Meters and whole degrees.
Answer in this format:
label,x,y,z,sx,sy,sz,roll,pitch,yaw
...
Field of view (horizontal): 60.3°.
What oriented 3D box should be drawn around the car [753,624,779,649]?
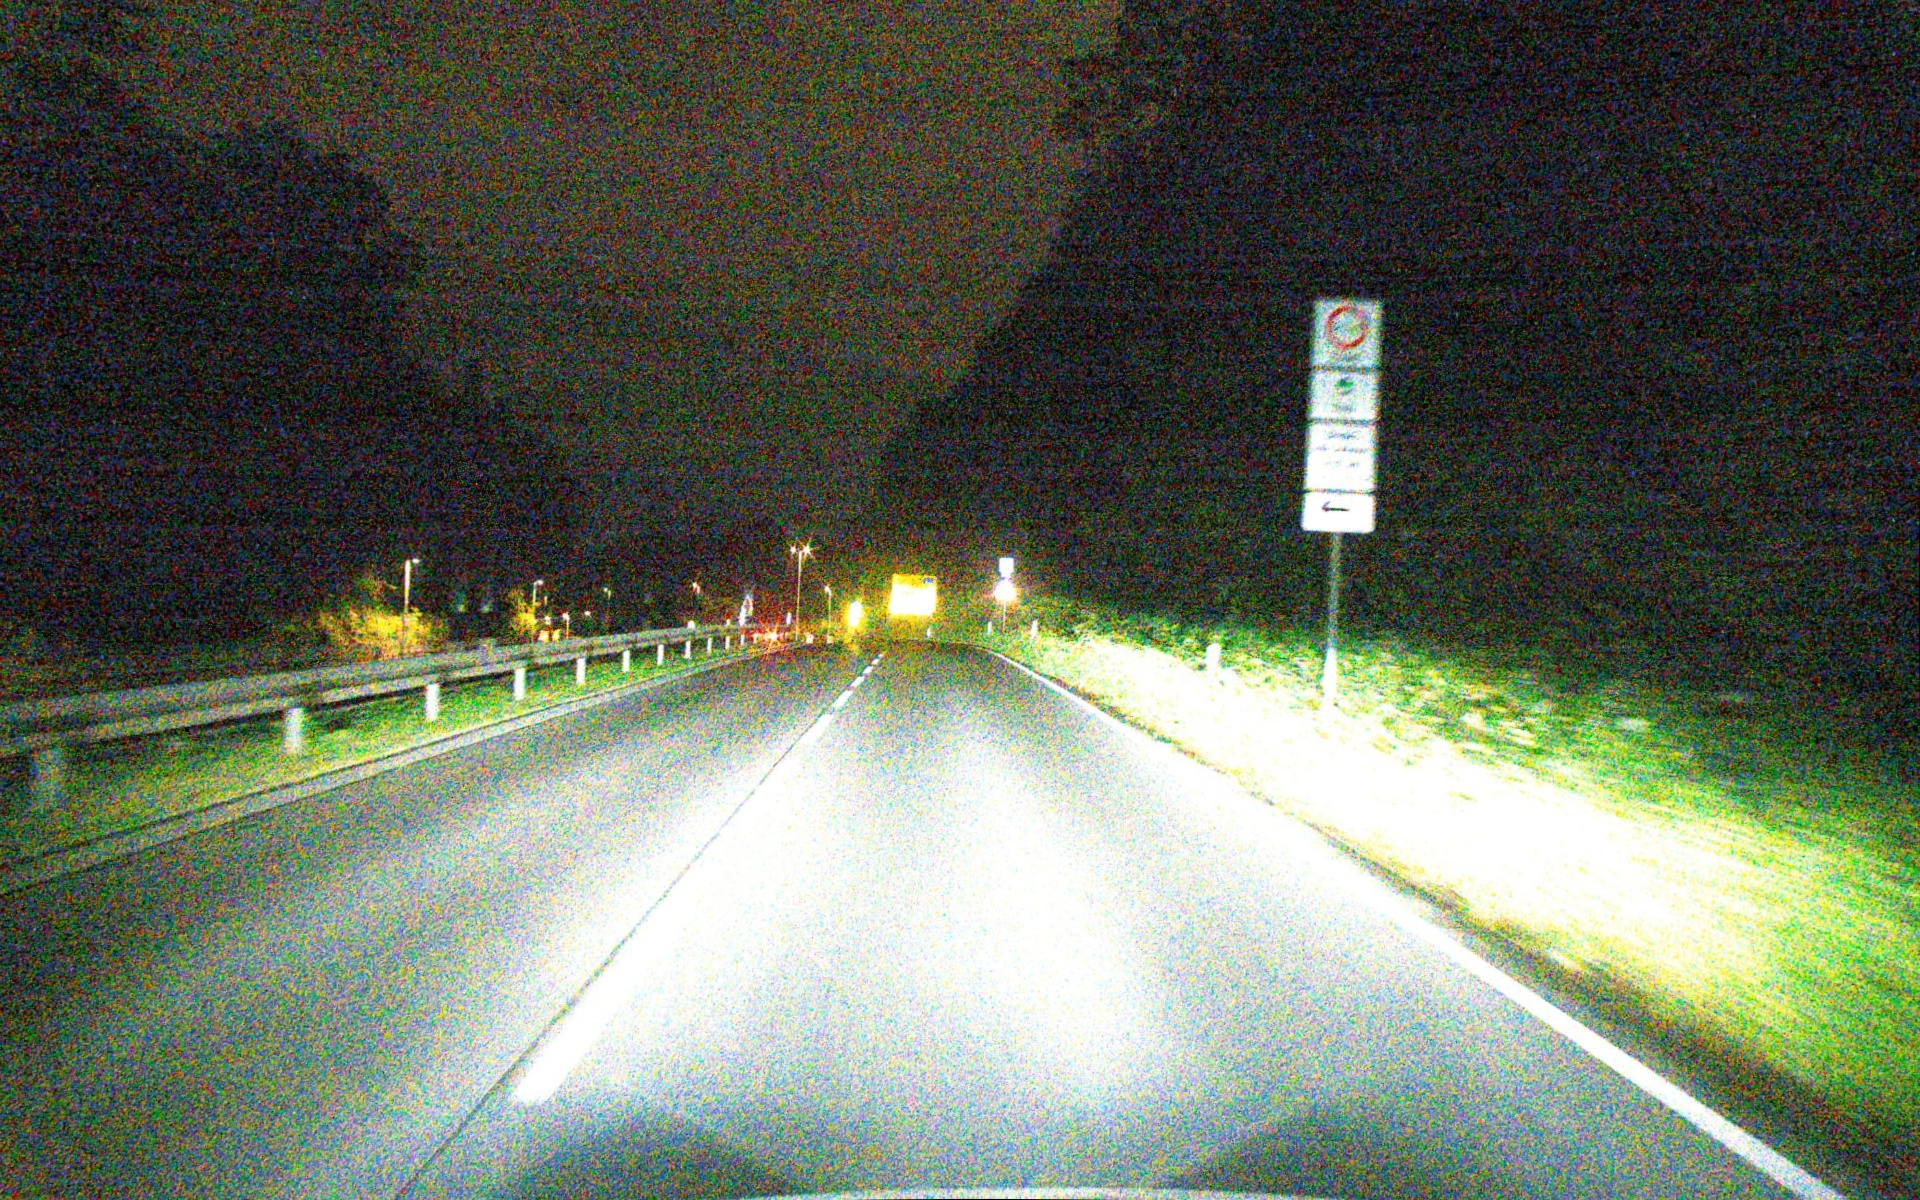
label,x,y,z,sx,sy,sz,roll,pitch,yaw
car,-17.122,3.235,145.924,1.958,2.049,3.989,4,-3,-10
